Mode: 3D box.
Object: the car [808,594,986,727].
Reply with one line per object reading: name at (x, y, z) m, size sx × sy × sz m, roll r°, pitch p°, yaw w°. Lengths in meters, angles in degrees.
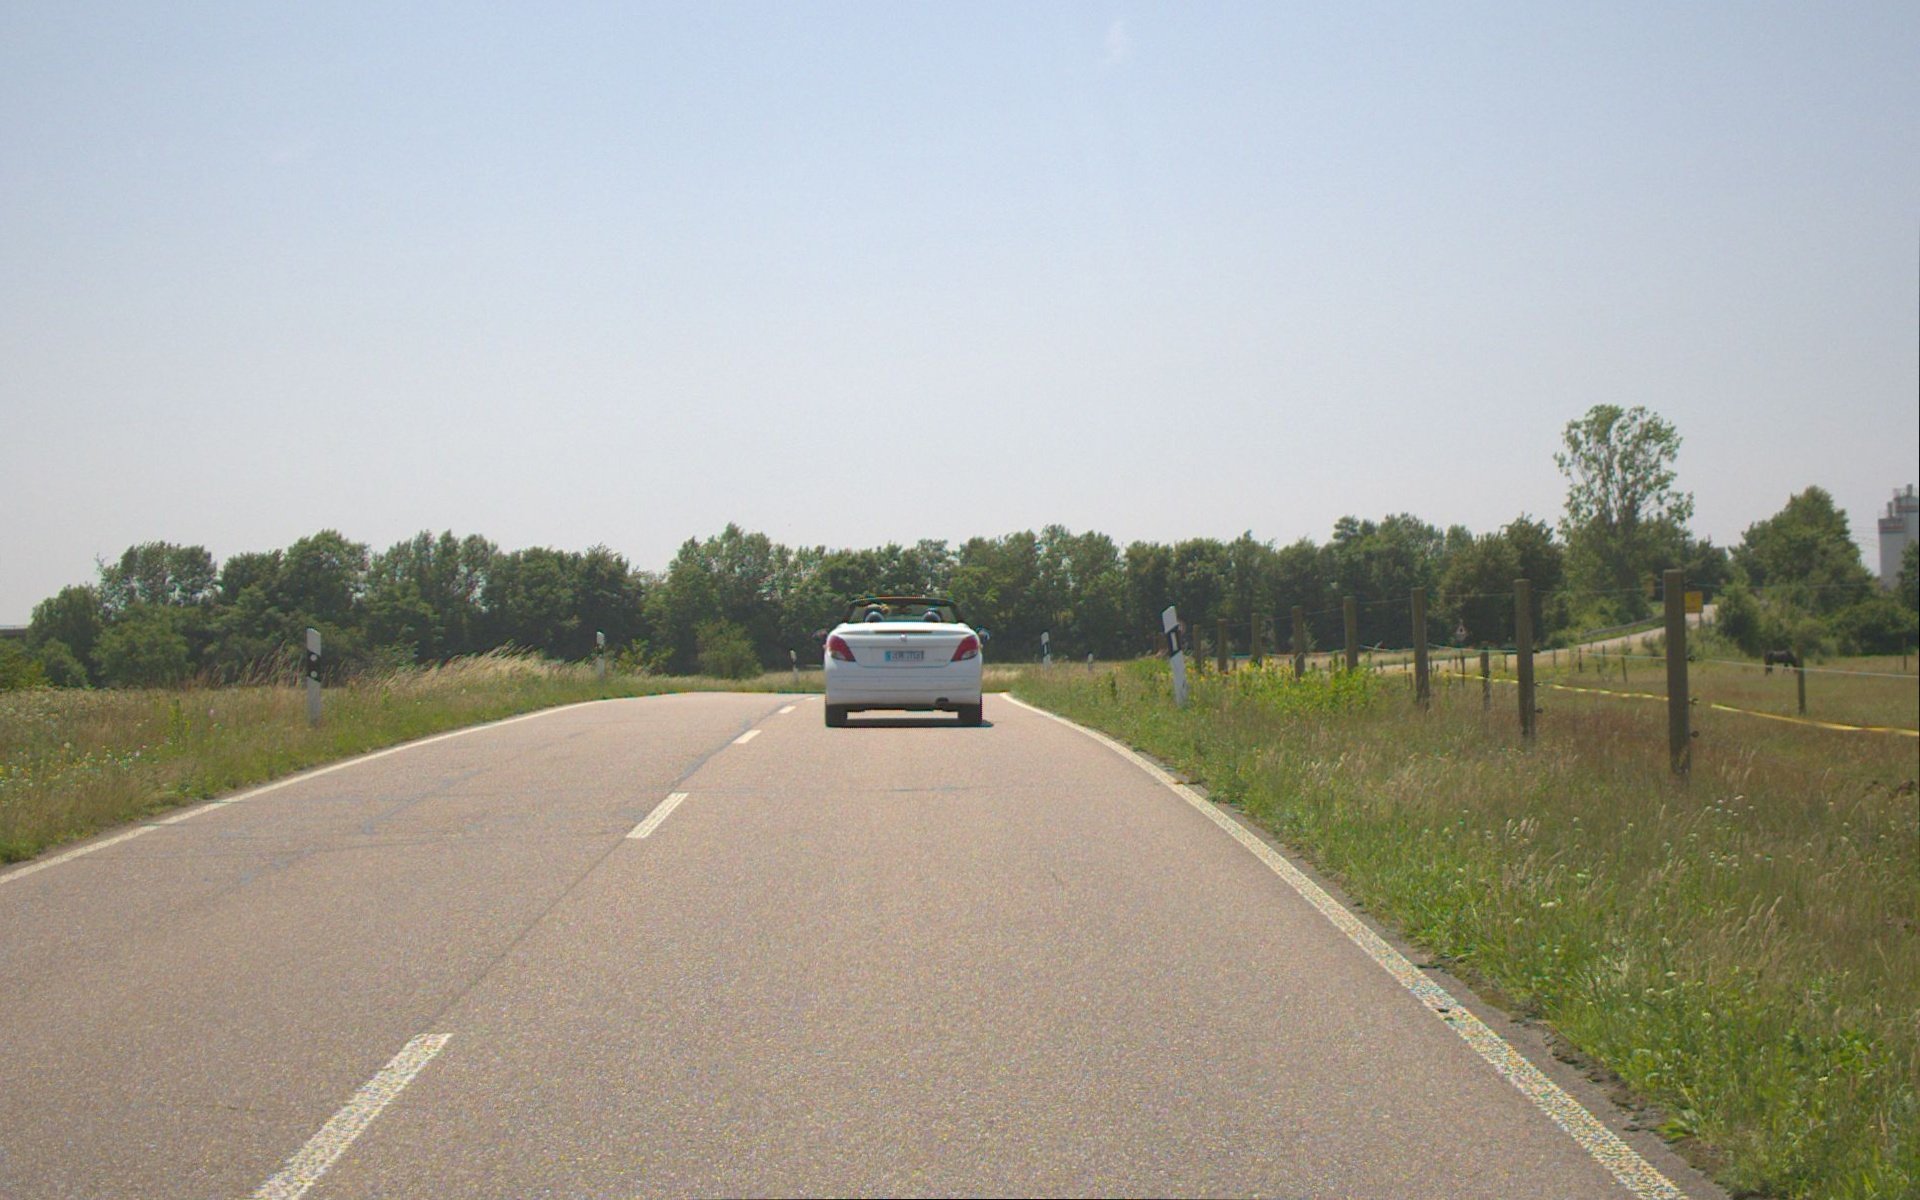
car at (-0.670, 0.639, 37.763) m, size 1.851 × 1.375 × 4.000 m, roll 0°, pitch 0°, yaw 0°
